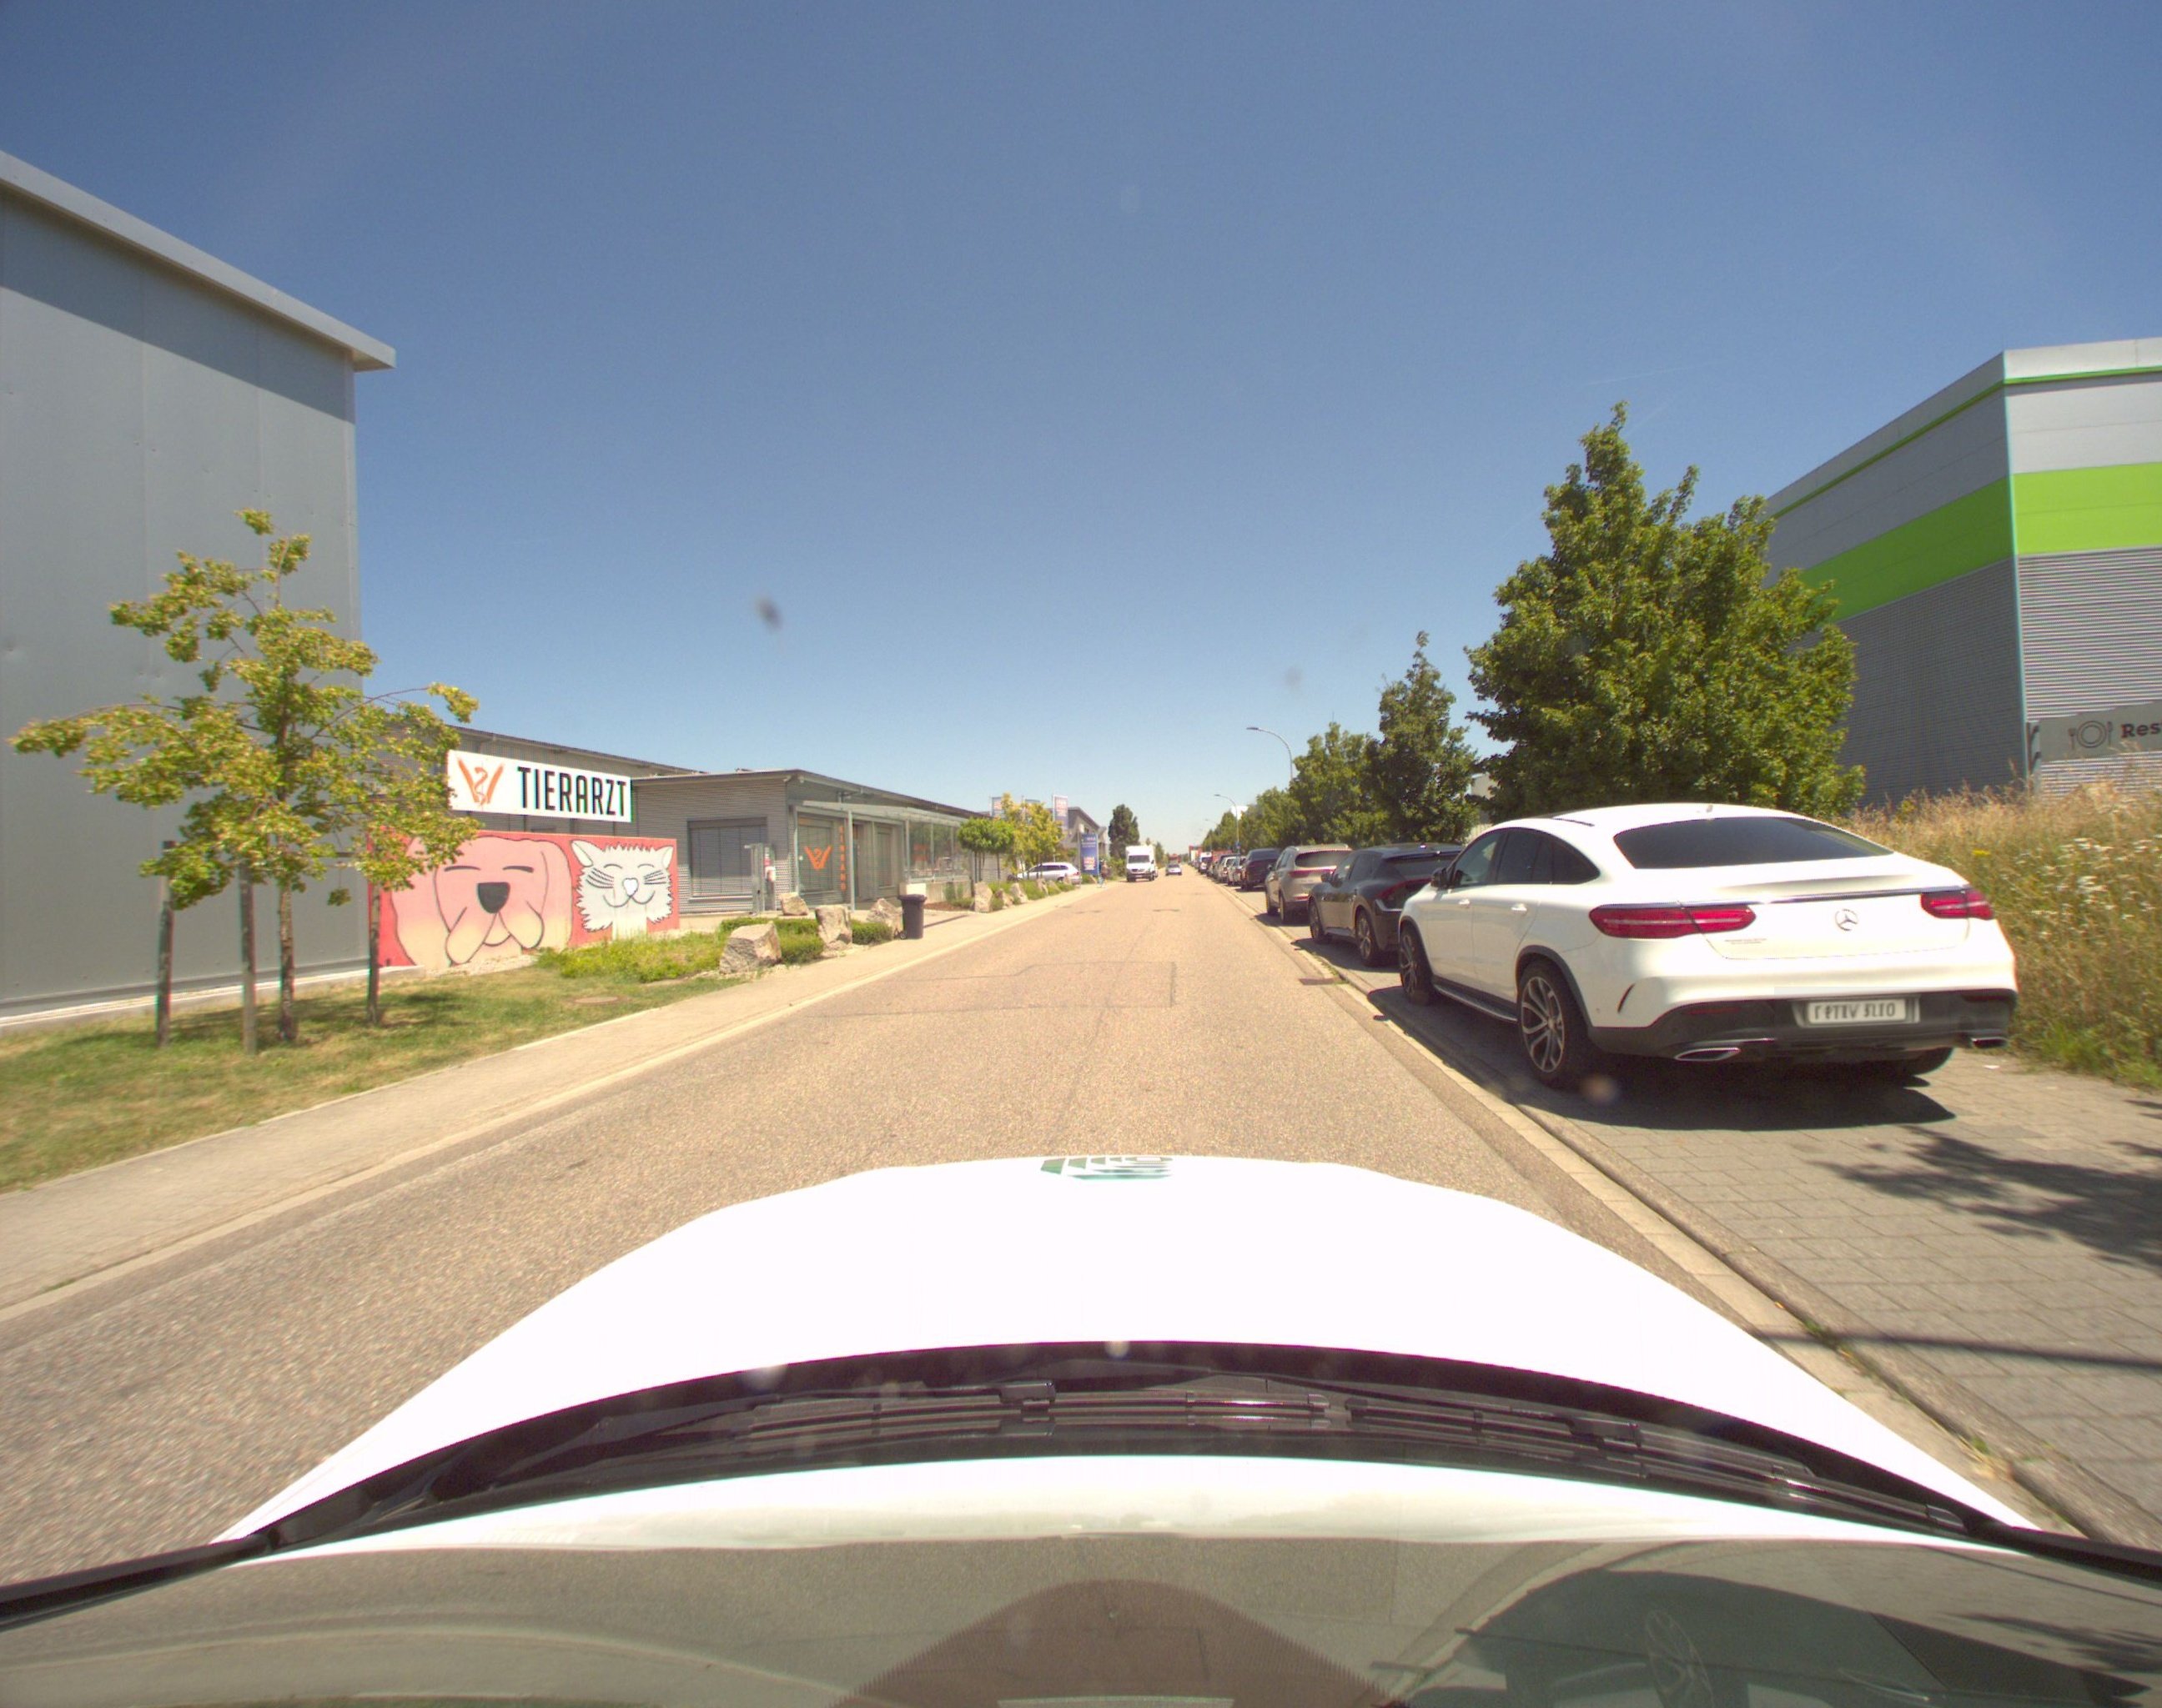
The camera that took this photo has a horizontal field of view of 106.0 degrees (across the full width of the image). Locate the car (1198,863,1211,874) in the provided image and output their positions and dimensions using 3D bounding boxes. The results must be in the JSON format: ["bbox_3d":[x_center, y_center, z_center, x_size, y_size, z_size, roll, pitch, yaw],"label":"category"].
[{"bbox_3d":[19.049,2.247,125.550,1.697,1.505,4.721,-3,-2,12],"label":"car"}]

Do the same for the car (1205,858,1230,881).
[{"bbox_3d":[12.524,1.437,74.805,1.983,1.885,5.166,-4,-1,7],"label":"car"}]

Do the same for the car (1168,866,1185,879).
[{"bbox_3d":[11.284,2.170,96.018,1.774,1.422,4.422,-4,-2,7],"label":"car"}]

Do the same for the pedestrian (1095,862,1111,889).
[{"bbox_3d":[1.293,1.239,47.936,0.894,1.574,0.787,0,-1,8],"label":"pedestrian"}]

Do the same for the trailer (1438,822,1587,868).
[{"bbox_3d":[42.000,-0.806,79.621,12.550,3.876,2.809,-2,-2,7],"label":"trailer"}]

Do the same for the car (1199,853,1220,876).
[{"bbox_3d":[15.109,1.195,95.811,2.254,2.497,6.167,-3,-1,9],"label":"car"}]

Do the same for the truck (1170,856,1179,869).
[{"bbox_3d":[28.009,2.548,244.380,2.435,3.513,8.288,-4,-1,7],"label":"truck"}]

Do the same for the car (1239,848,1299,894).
[{"bbox_3d":[7.849,0.683,34.431,1.938,1.701,4.554,-4,-1,8],"label":"car"}]

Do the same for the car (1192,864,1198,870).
[{"bbox_3d":[29.222,3.240,208.856,1.576,1.410,3.507,-3,-1,7],"label":"car"}]

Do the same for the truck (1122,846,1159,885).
[{"bbox_3d":[4.798,0.940,65.163,2.349,2.860,6.428,-4,-2,8],"label":"truck"}]

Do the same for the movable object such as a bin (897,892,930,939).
[{"bbox_3d":[-3.551,1.310,17.310,0.568,0.949,0.512,-2,-1,1],"label":"movable object such as a bin"}]

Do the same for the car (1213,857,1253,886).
[{"bbox_3d":[8.830,1.009,47.656,1.706,1.483,4.779,-4,-1,4],"label":"car"}]

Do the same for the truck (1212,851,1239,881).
[{"bbox_3d":[11.418,0.955,64.569,1.670,2.181,4.398,-4,-2,7],"label":"truck"}]

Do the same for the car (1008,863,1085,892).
[{"bbox_3d":[-2.011,1.361,48.115,4.240,1.518,1.869,-2,-1,6],"label":"car"}]

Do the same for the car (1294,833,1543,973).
[{"bbox_3d":[4.592,0.613,11.950,1.896,1.529,4.634,-4,-1,3],"label":"car"}]

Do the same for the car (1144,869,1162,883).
[{"bbox_3d":[7.692,2.336,86.927,1.720,1.458,4.500,-2,-1,7],"label":"car"}]

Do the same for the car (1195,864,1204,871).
[{"bbox_3d":[23.501,2.692,161.805,1.709,1.450,3.653,-3,-1,7],"label":"car"}]

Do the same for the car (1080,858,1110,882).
[{"bbox_3d":[1.249,1.395,71.337,1.983,1.956,5.228,-2,-1,7],"label":"car"}]

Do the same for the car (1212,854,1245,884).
[{"bbox_3d":[9.570,0.970,53.181,1.801,1.725,4.784,-4,-1,8],"label":"car"}]

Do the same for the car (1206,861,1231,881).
[{"bbox_3d":[11.603,1.466,68.979,1.730,1.531,4.006,-4,-2,6],"label":"car"}]

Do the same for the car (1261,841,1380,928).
[{"bbox_3d":[5.286,0.639,18.556,1.795,1.636,4.466,-4,-1,7],"label":"car"}]

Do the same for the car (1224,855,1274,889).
[{"bbox_3d":[8.519,0.901,41.574,1.796,1.483,4.779,-4,-1,4],"label":"car"}]

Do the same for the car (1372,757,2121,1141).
[{"bbox_3d":[3.945,0.491,6.241,2.132,1.698,4.794,-4,-1,7],"label":"car"}]

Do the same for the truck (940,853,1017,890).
[{"bbox_3d":[-10.378,1.784,81.748,7.959,3.557,2.603,-2,-1,36],"label":"truck"}]
